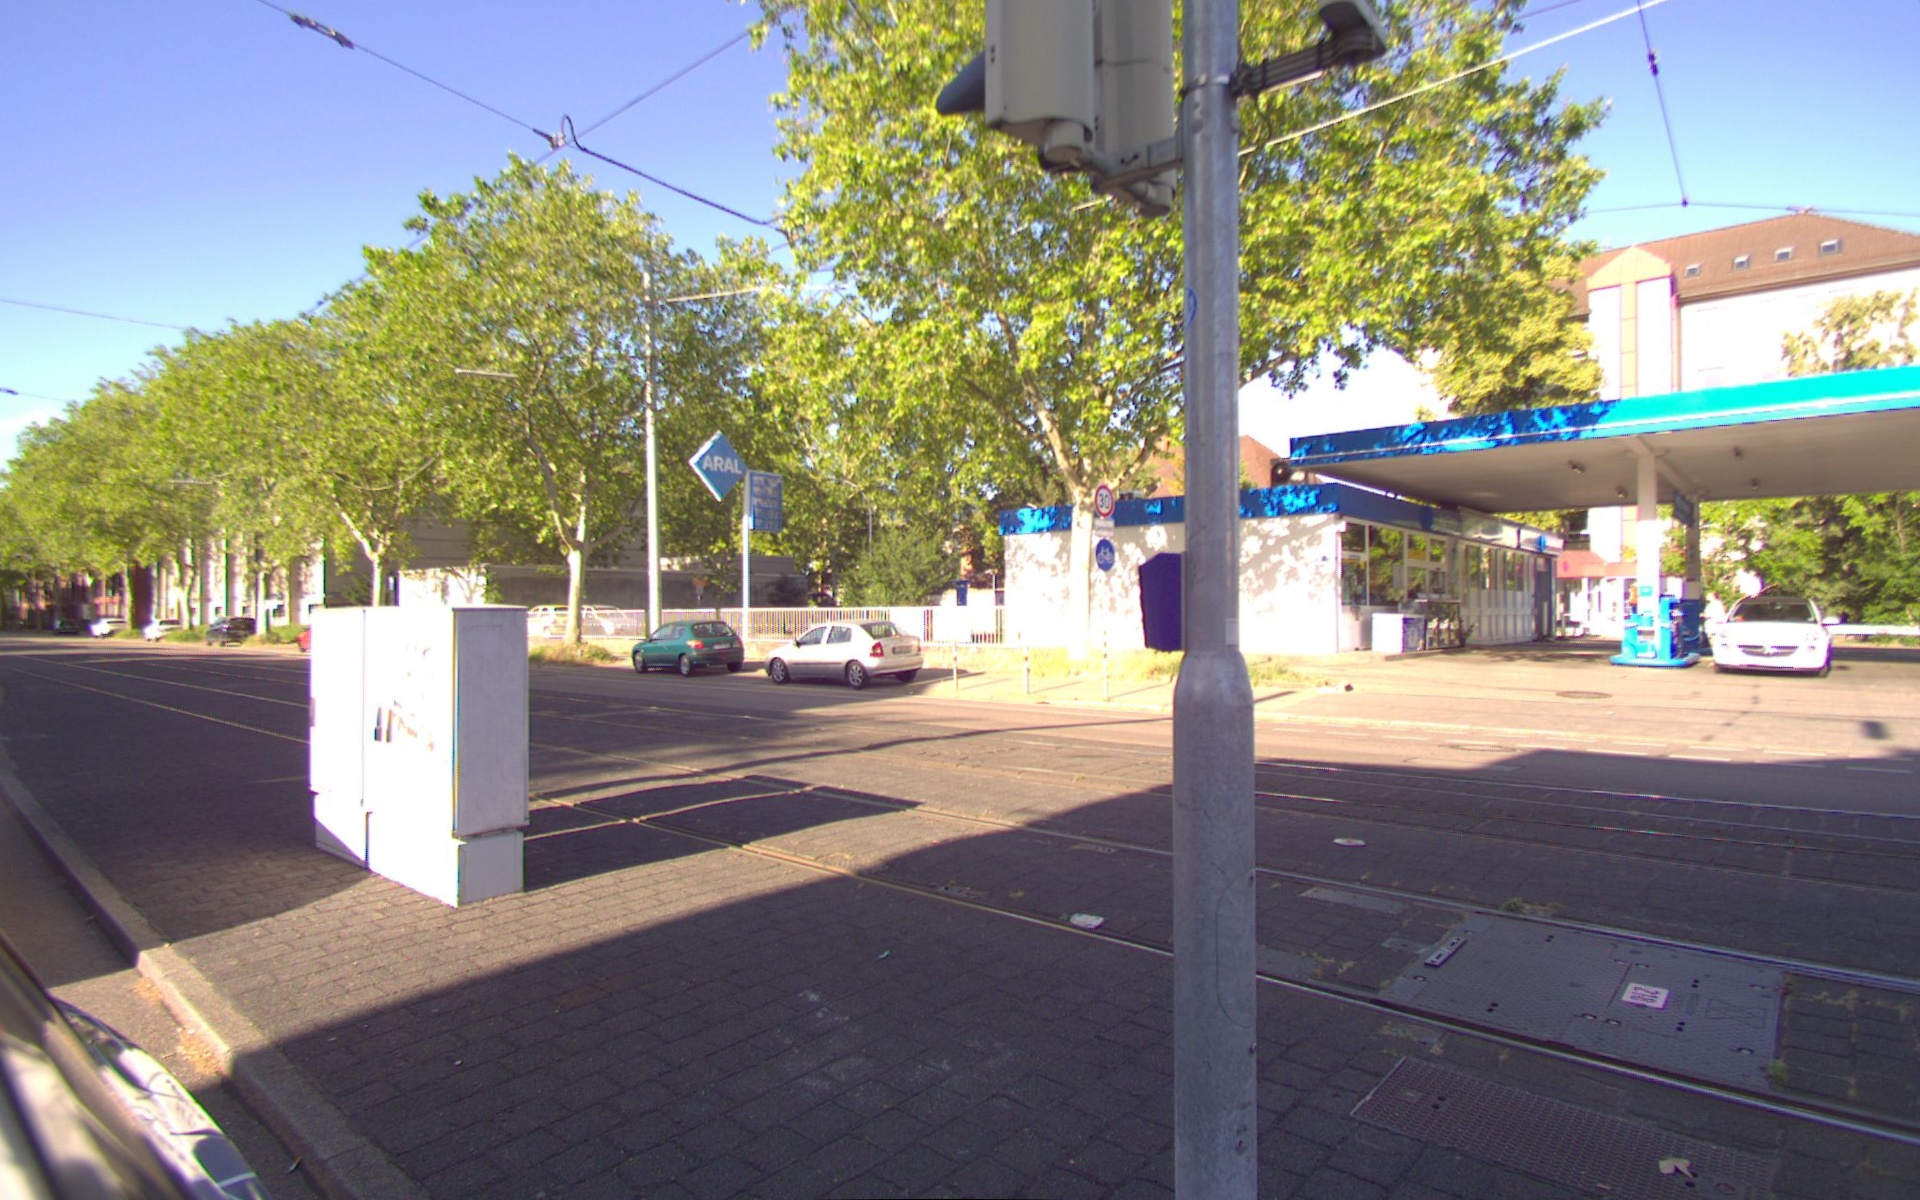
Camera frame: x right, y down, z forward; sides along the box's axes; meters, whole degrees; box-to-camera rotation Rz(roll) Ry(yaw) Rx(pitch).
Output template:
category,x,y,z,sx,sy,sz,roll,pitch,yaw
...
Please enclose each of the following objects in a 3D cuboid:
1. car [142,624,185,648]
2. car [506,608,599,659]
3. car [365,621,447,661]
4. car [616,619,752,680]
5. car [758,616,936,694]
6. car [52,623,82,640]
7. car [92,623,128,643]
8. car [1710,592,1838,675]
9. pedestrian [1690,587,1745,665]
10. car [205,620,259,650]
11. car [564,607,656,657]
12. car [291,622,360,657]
category,x,y,z,sx,sy,sz,roll,pitch,yaw
car,-53.631,2.396,68.134,3.858,1.495,1.735,-1,0,43
car,-17.039,1.393,42.272,3.996,2.029,1.974,-1,-1,39
car,-21.979,1.587,40.101,3.858,1.468,1.735,-1,0,43
car,-7.429,1.275,27.085,3.858,1.408,1.722,-1,1,43
car,-2.569,1.168,22.605,3.857,1.497,1.823,-1,1,42
car,-84.864,3.008,96.131,3.858,1.495,1.735,-1,0,43
car,-66.918,2.576,79.655,3.858,1.495,1.735,-1,0,43
car,15.945,0.614,19.790,1.793,1.453,3.946,-1,-1,40
pedestrian,16.228,0.553,21.680,0.637,1.642,0.814,1,-2,-42
car,-40.669,1.954,56.497,3.858,1.557,1.735,-1,0,43
car,-15.140,1.363,43.700,3.996,2.029,1.974,-1,-1,39
car,-28.906,1.773,46.056,3.858,1.440,1.695,-1,0,43
